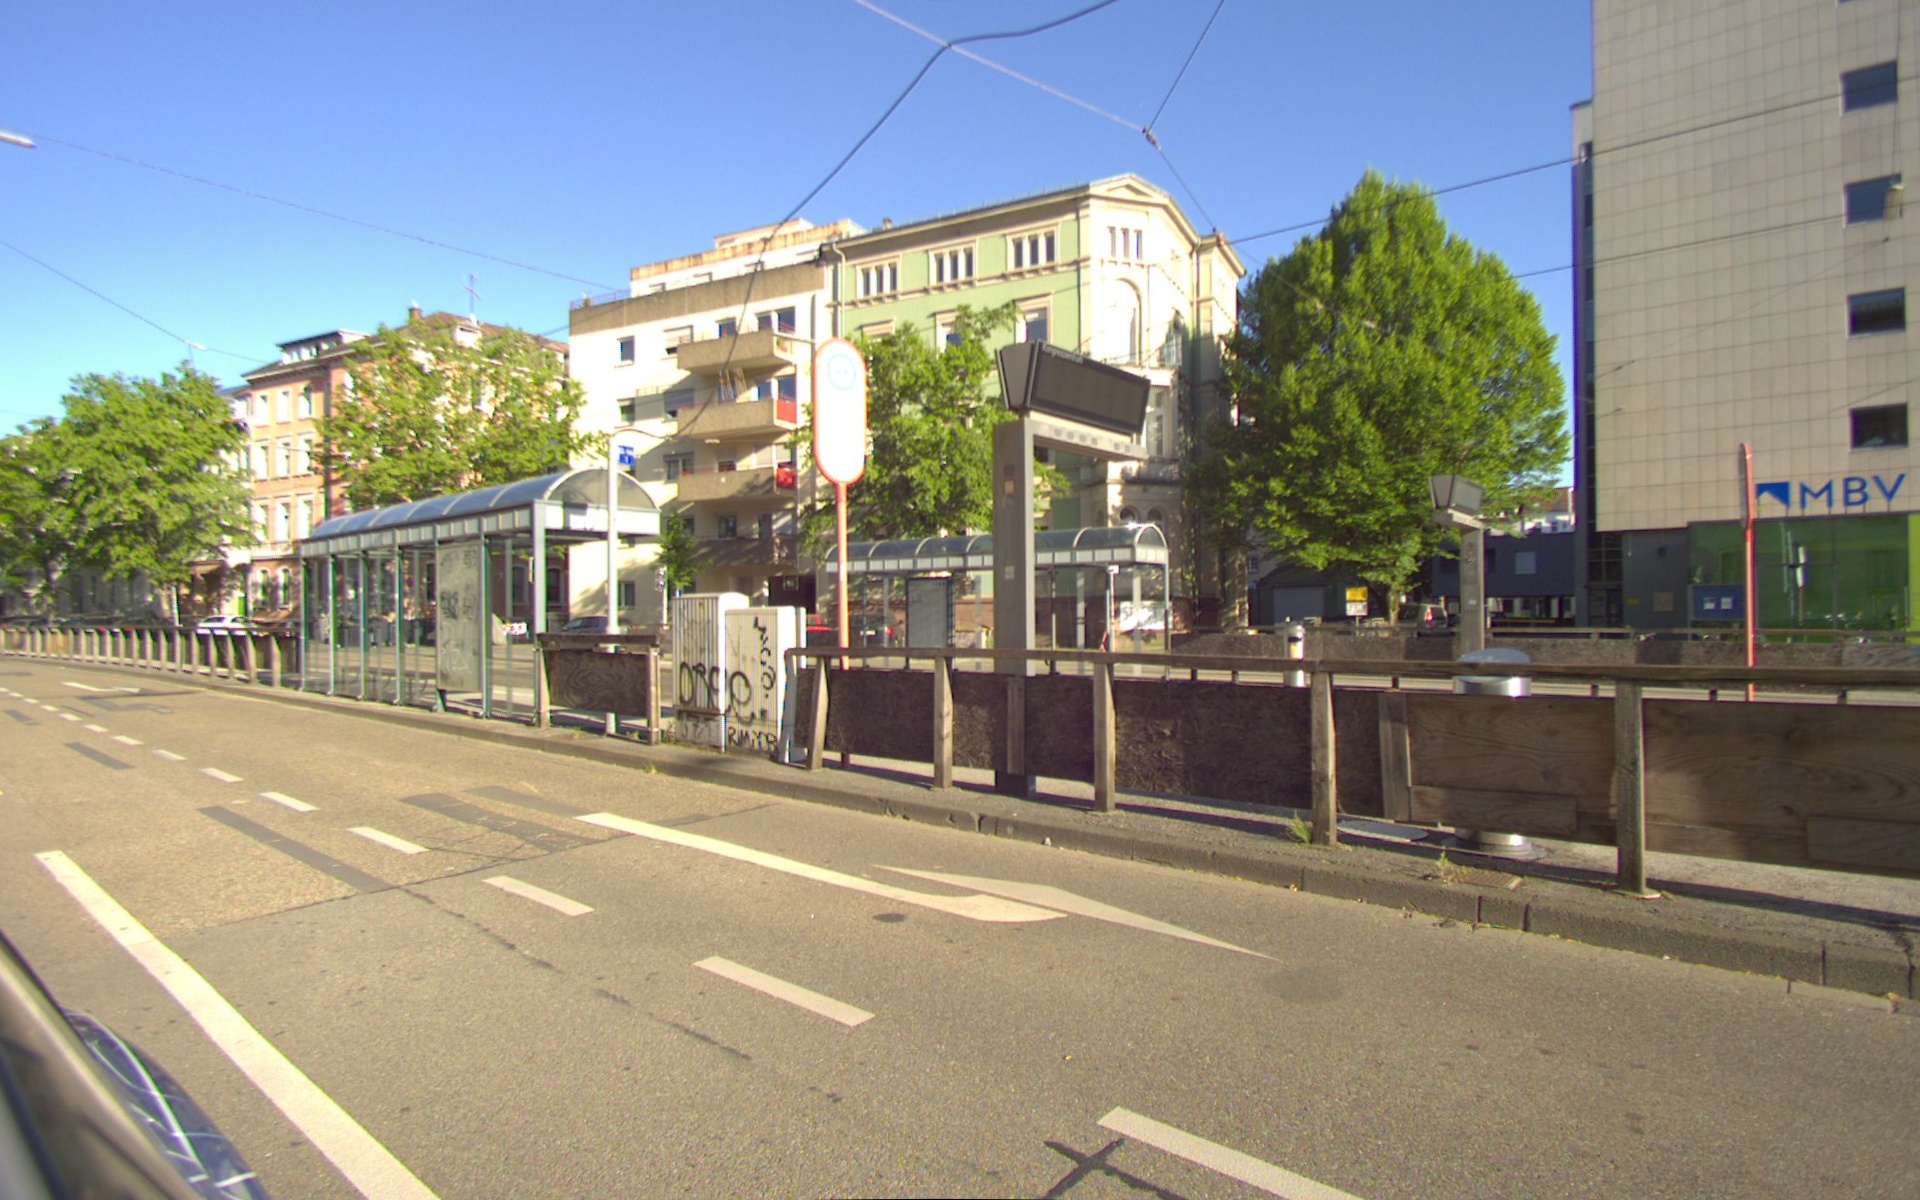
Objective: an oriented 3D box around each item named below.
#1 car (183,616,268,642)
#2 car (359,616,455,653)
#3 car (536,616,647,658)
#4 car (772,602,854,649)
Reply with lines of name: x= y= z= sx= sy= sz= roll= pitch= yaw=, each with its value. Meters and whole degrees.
car: x=-39.134 y=1.526 z=54.031 sx=1.565 sy=1.360 sz=3.631 roll=0 pitch=-1 yaw=11
car: x=-23.951 y=1.472 z=43.811 sx=3.987 sy=1.541 sz=1.978 roll=-1 pitch=-2 yaw=32
car: x=-14.117 y=1.390 z=38.743 sx=3.987 sy=1.541 sz=1.978 roll=-1 pitch=-2 yaw=32
car: x=-6.641 y=1.155 z=46.050 sx=1.791 sy=2.029 sz=3.963 roll=-1 pitch=-1 yaw=27
